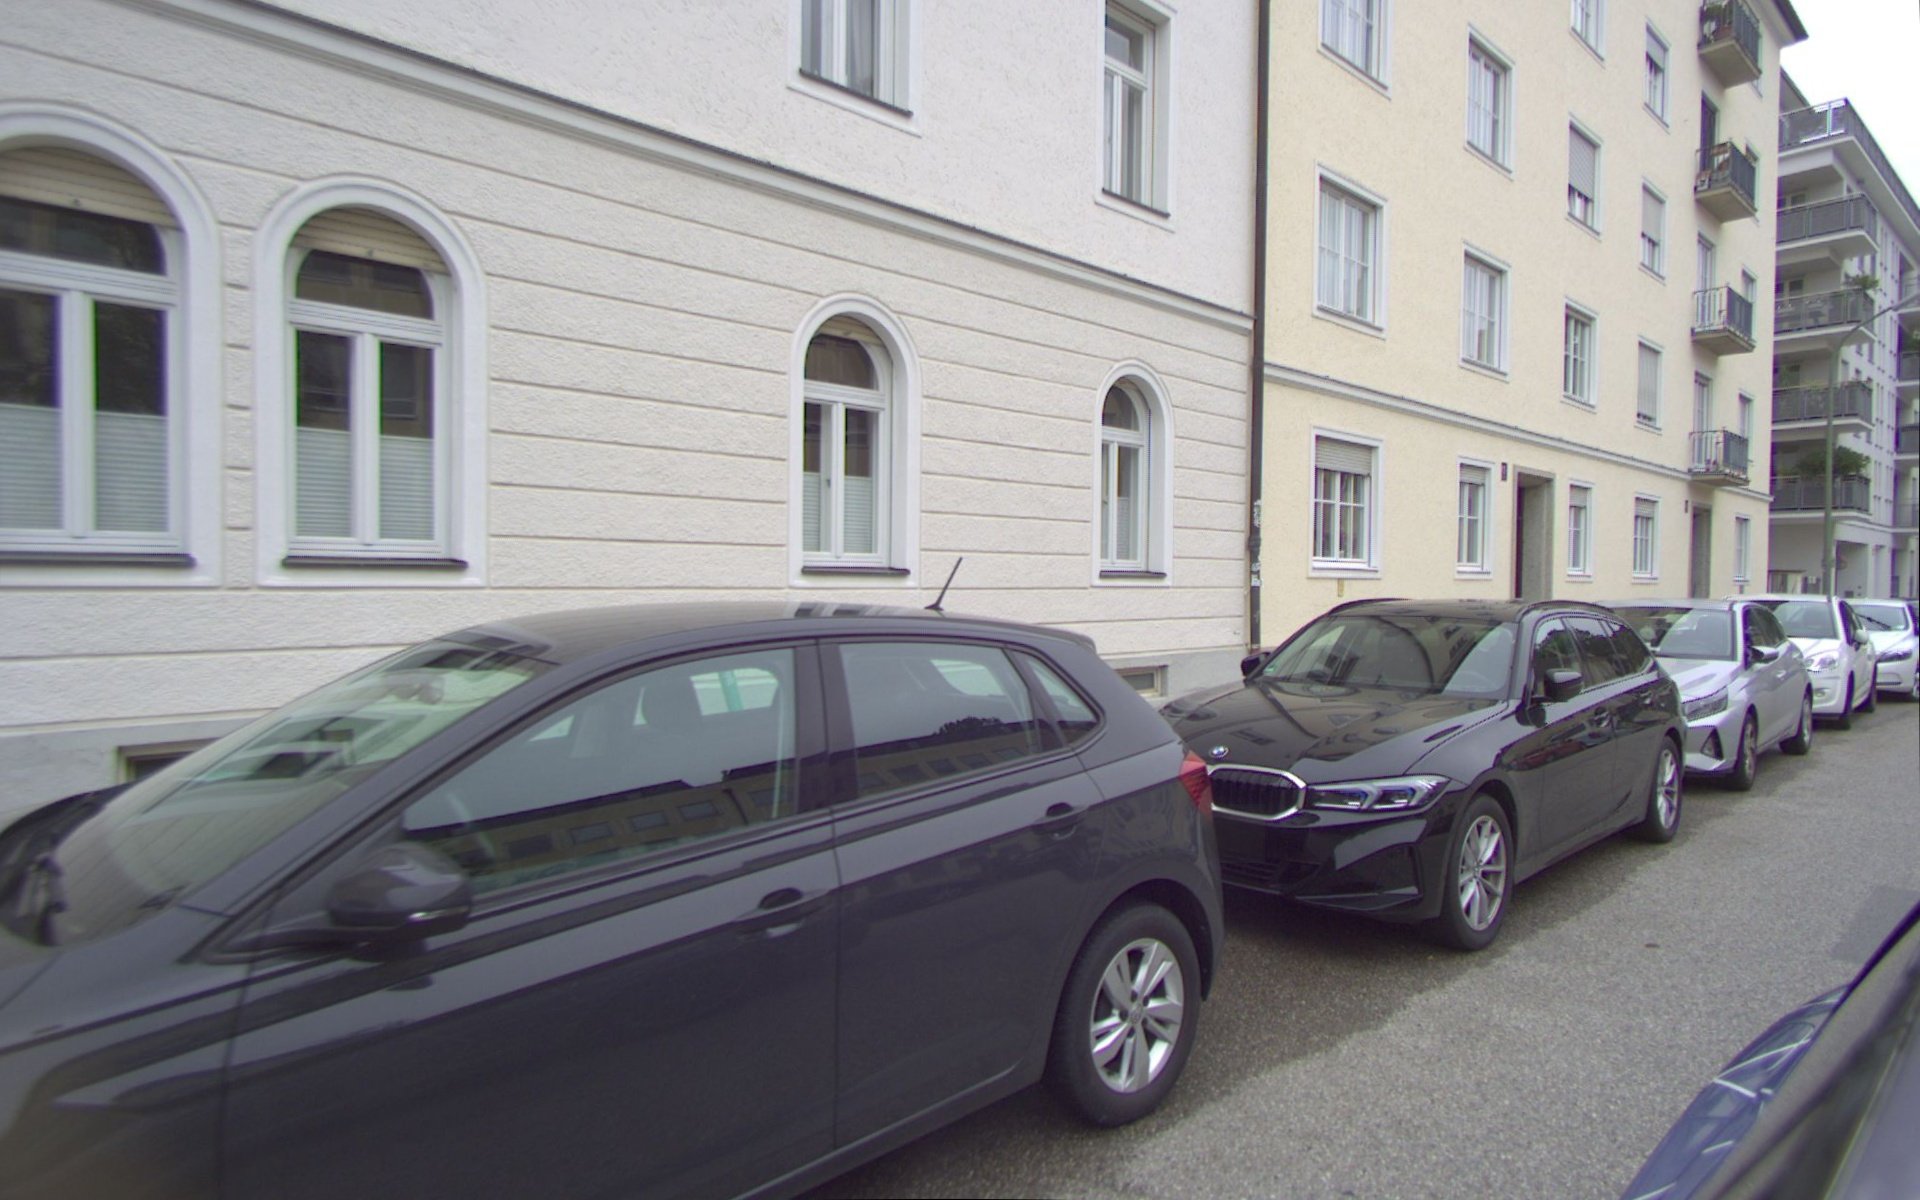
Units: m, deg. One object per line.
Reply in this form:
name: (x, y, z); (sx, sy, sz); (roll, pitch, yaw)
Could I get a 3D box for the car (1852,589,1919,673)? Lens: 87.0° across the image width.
car: (18.368, 0.535, 19.067); (4.535, 1.448, 1.776); (0, 0, -41)

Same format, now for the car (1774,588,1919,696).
car: (13.964, 0.553, 15.436); (4.219, 1.448, 1.727); (0, 0, -41)

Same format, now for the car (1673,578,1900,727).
car: (10.317, 0.536, 12.532); (3.926, 1.563, 1.652); (0, 0, -43)

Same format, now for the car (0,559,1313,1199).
car: (-0.960, 0.672, 2.685); (4.012, 1.468, 1.831); (0, 0, -41)

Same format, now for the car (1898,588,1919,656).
car: (22.036, 0.457, 22.304); (3.691, 1.448, 1.657); (0, 0, -41)

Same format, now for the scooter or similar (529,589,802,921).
scooter or similar: (-1.229, 0.578, 4.304); (1.029, 1.245, 0.428); (0, 0, -40)

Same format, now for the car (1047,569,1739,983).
car: (2.765, 0.608, 5.819); (4.596, 1.468, 1.879); (0, 0, -41)

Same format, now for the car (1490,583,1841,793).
car: (6.463, 0.600, 9.090); (4.116, 1.468, 1.726); (0, 0, -42)
